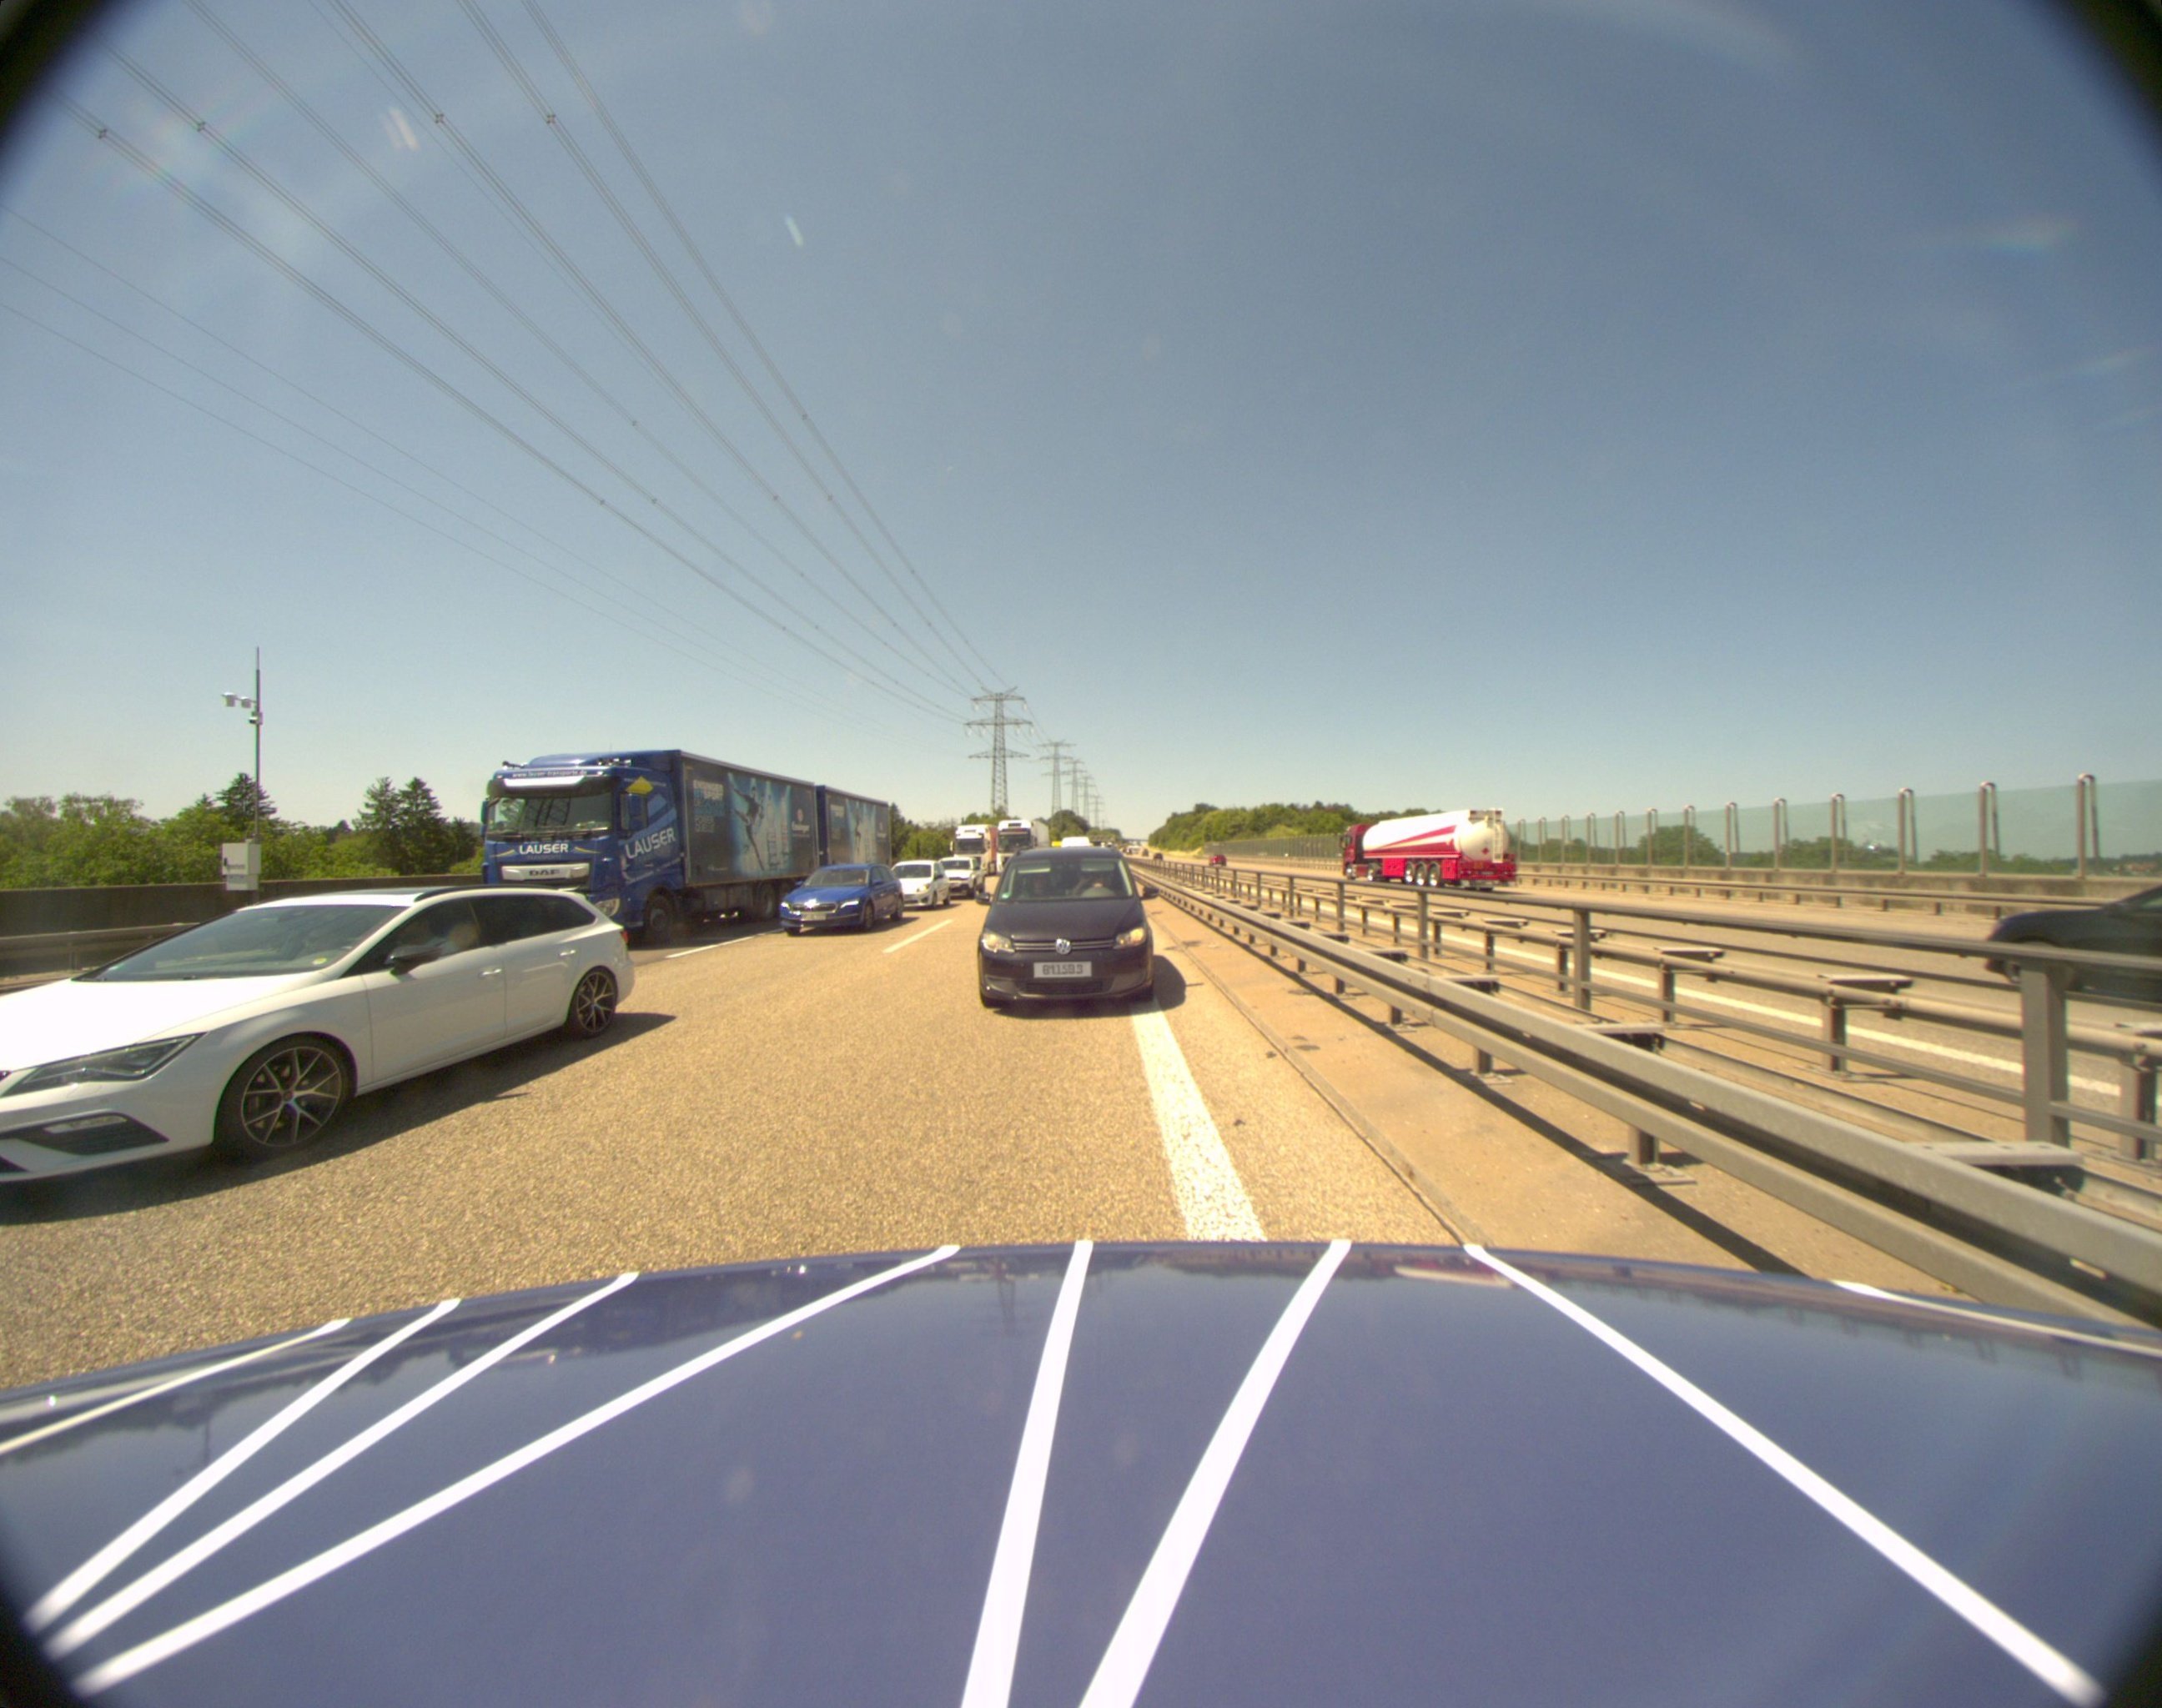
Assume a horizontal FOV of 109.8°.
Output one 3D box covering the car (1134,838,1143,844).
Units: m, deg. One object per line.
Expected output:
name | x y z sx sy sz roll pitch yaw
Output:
car | 13.838 -3.139 182.933 1.704 1.412 4.000 2 1 1

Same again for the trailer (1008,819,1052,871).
trailer | -4.070 -0.746 62.926 2.822 3.830 9.084 -2 1 1

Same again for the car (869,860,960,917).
car | -4.985 0.978 23.320 1.712 1.443 4.144 -2 1 2

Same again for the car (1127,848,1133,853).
car | 15.677 -1.156 243.266 1.704 1.412 4.000 2 1 1

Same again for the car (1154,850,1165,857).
car | 15.263 -0.126 148.385 1.704 1.412 4.000 2 1 1

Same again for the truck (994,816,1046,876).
truck | -4.194 -0.586 54.245 2.849 3.804 8.263 -2 1 1

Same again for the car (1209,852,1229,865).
car | 16.947 0.541 93.358 1.786 1.412 4.000 2 1 1

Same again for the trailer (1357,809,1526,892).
trailer | 16.937 -0.242 37.137 2.883 3.359 12.006 1 1 2

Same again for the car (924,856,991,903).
car | -4.567 0.899 28.654 1.712 1.501 4.144 -2 1 2

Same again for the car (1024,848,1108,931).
car | -0.289 0.750 18.095 1.712 1.669 3.931 -2 1 1

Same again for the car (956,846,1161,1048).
car | -0.166 0.791 8.551 1.712 1.669 3.931 -2 1 1

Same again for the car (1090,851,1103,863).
car | 2.018 0.379 98.647 1.704 1.412 4.000 2 1 1

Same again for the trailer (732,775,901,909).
trailer | -9.246 -0.425 27.979 2.835 4.066 8.637 -2 1 1

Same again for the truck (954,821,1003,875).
truck | -8.077 -0.507 60.885 2.608 3.964 8.263 -2 1 1

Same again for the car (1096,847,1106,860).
car | 3.512 -0.137 131.927 1.704 2.116 4.000 -2 1 1

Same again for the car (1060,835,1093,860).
car | -0.233 -0.426 48.348 1.924 1.501 3.996 -2 1 2

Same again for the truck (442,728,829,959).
truck | -9.507 -0.241 18.483 2.859 3.927 10.393 -2 1 2

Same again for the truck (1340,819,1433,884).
truck | 17.130 -0.184 43.096 2.915 3.395 6.294 1 1 2

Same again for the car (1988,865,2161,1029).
car | 10.961 0.894 6.498 1.802 1.490 3.851 0 1 1

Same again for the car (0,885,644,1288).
car | -5.203 1.060 5.262 1.713 1.443 4.429 -2 0 0

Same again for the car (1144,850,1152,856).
car | 18.567 -0.379 210.502 1.832 1.629 4.000 2 1 1

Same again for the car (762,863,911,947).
car | -5.294 1.027 17.139 1.712 1.443 4.563 -2 1 2

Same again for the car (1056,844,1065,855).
car | -4.777 -1.039 176.060 1.704 2.525 4.000 2 1 1
